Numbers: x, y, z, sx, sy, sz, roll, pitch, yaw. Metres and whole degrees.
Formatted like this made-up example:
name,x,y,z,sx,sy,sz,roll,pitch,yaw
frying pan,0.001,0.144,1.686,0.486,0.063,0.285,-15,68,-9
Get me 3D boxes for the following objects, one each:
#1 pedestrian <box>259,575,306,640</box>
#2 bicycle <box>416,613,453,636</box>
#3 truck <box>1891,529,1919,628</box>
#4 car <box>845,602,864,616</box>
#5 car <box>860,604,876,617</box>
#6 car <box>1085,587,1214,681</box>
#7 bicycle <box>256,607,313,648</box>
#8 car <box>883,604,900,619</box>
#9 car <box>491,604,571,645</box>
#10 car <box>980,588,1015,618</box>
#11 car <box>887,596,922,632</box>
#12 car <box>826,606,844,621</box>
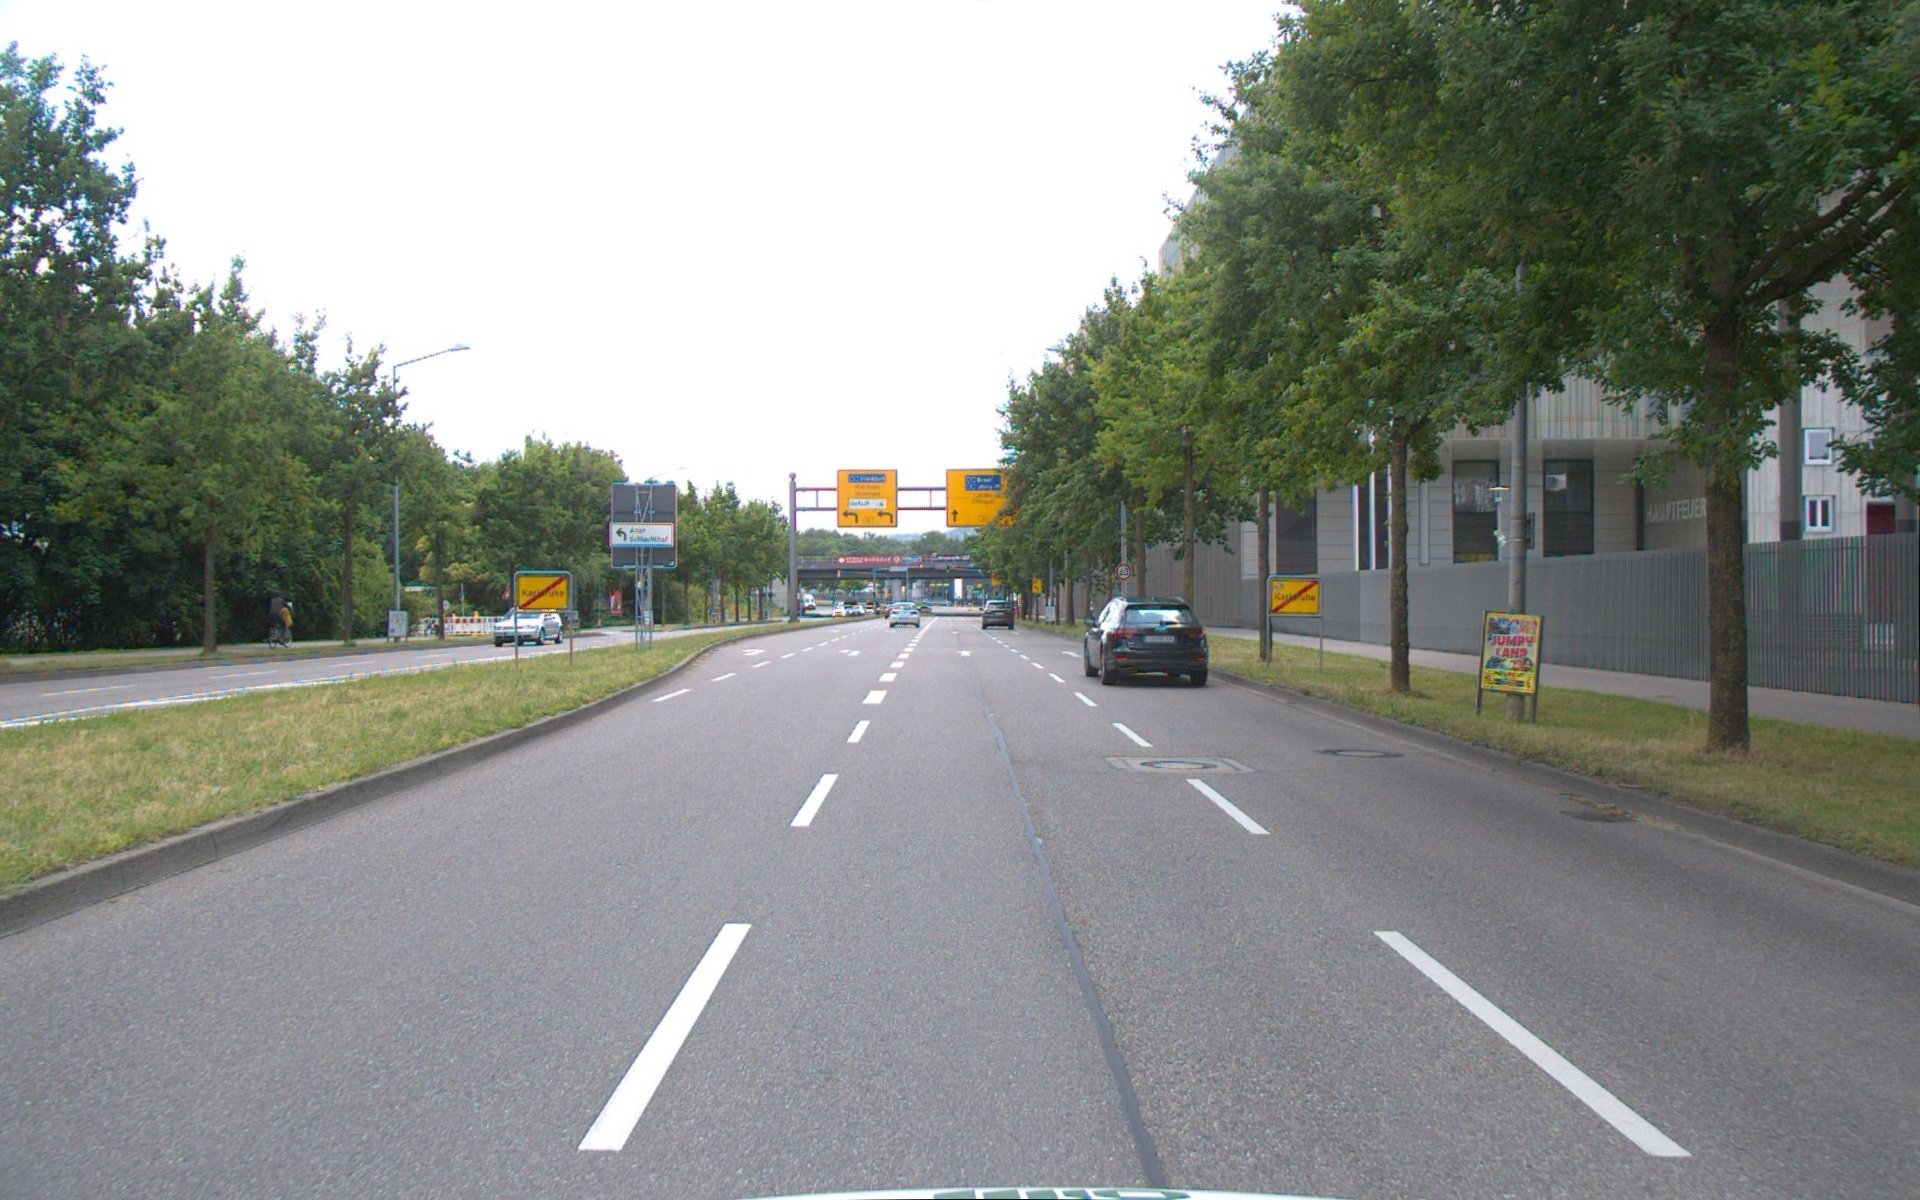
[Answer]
name,x,y,z,sx,sy,sz,roll,pitch,yaw
pedestrian,-21.729,0.240,53.080,0.950,2.049,1.249,-1,0,0
bicycle,-25.806,1.189,81.189,0.876,1.078,2.329,-1,0,-40
truck,33.164,-0.630,52.835,5.578,3.123,2.318,1,-1,-3
car,-12.530,1.094,196.749,1.952,1.646,4.000,-1,0,0
car,-12.428,1.450,223.063,1.953,1.747,3.999,1,-1,-1
car,3.203,0.558,28.604,1.650,1.489,3.999,1,0,-2
bicycle,-21.703,0.867,53.205,0.791,1.248,2.502,-1,0,0
car,-7.130,1.160,171.460,1.739,1.489,3.997,1,0,-3
car,-15.585,0.861,60.283,1.606,1.352,4.383,-1,0,3
car,2.190,0.156,95.564,1.952,1.654,4.310,-1,1,1
car,-3.260,0.836,97.286,1.954,2.049,3.997,1,0,-3
car,-15.644,1.688,206.687,1.953,1.814,3.998,1,-1,-2
